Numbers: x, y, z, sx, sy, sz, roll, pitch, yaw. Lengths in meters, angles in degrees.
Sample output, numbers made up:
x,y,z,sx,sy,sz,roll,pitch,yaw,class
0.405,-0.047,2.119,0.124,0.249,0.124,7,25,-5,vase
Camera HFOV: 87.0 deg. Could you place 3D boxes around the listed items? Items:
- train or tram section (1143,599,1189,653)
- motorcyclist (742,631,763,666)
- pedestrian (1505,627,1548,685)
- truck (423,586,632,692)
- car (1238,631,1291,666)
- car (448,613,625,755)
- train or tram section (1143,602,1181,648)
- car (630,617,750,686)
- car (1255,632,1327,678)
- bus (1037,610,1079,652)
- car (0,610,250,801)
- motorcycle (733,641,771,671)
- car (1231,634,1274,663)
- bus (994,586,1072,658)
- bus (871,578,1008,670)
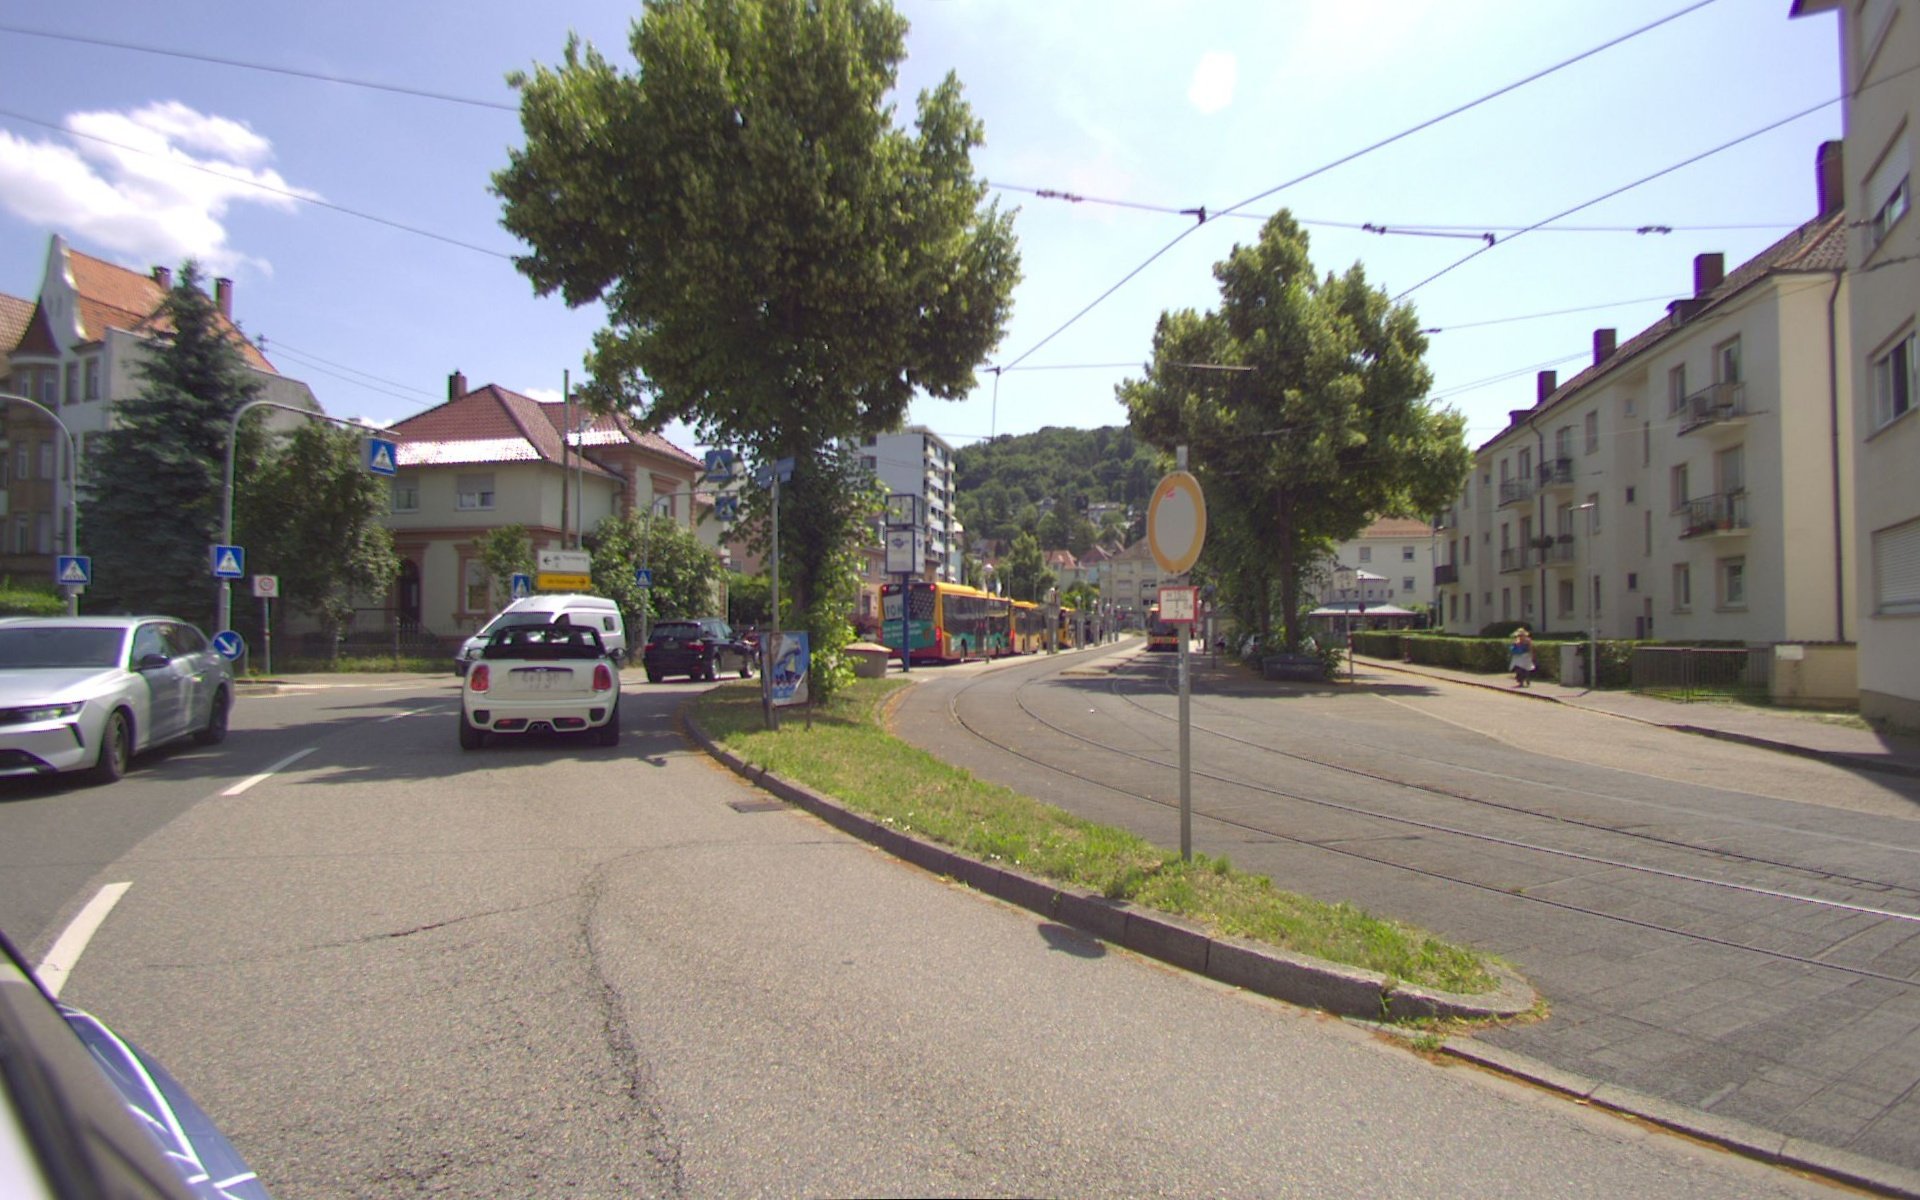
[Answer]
x,y,z,sx,sy,sz,roll,pitch,yaw,class
14.836,1.887,73.617,2.867,3.547,13.857,-1,-2,10,train or tram section
-7.590,1.753,36.949,0.537,1.252,0.551,-1,-2,23,motorcyclist
15.489,1.525,27.683,0.769,1.572,0.742,-1,-2,11,pedestrian
-10.331,0.969,24.740,2.000,2.266,5.387,-2,-3,12,truck
13.665,2.130,45.613,1.825,1.494,4.243,-1,-2,11,car
-5.190,0.928,12.648,1.748,1.475,3.759,1,-1,-21,car
17.258,2.148,87.253,2.867,3.547,13.857,-1,-2,10,train or tram section
-7.023,1.344,26.790,1.837,1.644,4.325,0,-3,2,car
11.372,1.844,34.966,1.825,1.494,3.942,-1,-2,11,car
8.044,2.541,81.824,2.548,3.213,10.121,0,-2,10,bus
-8.564,0.843,9.715,1.771,1.477,4.184,0,0,-19,car
-7.595,2.039,36.999,0.665,1.066,1.425,-1,-2,23,motorcycle
15.778,2.588,54.781,1.825,1.494,3.859,-1,-2,11,car
4.386,1.348,57.574,2.670,3.635,12.157,0,-2,13,bus
-0.548,1.106,42.383,2.684,3.322,10.800,-1,-3,16,bus
